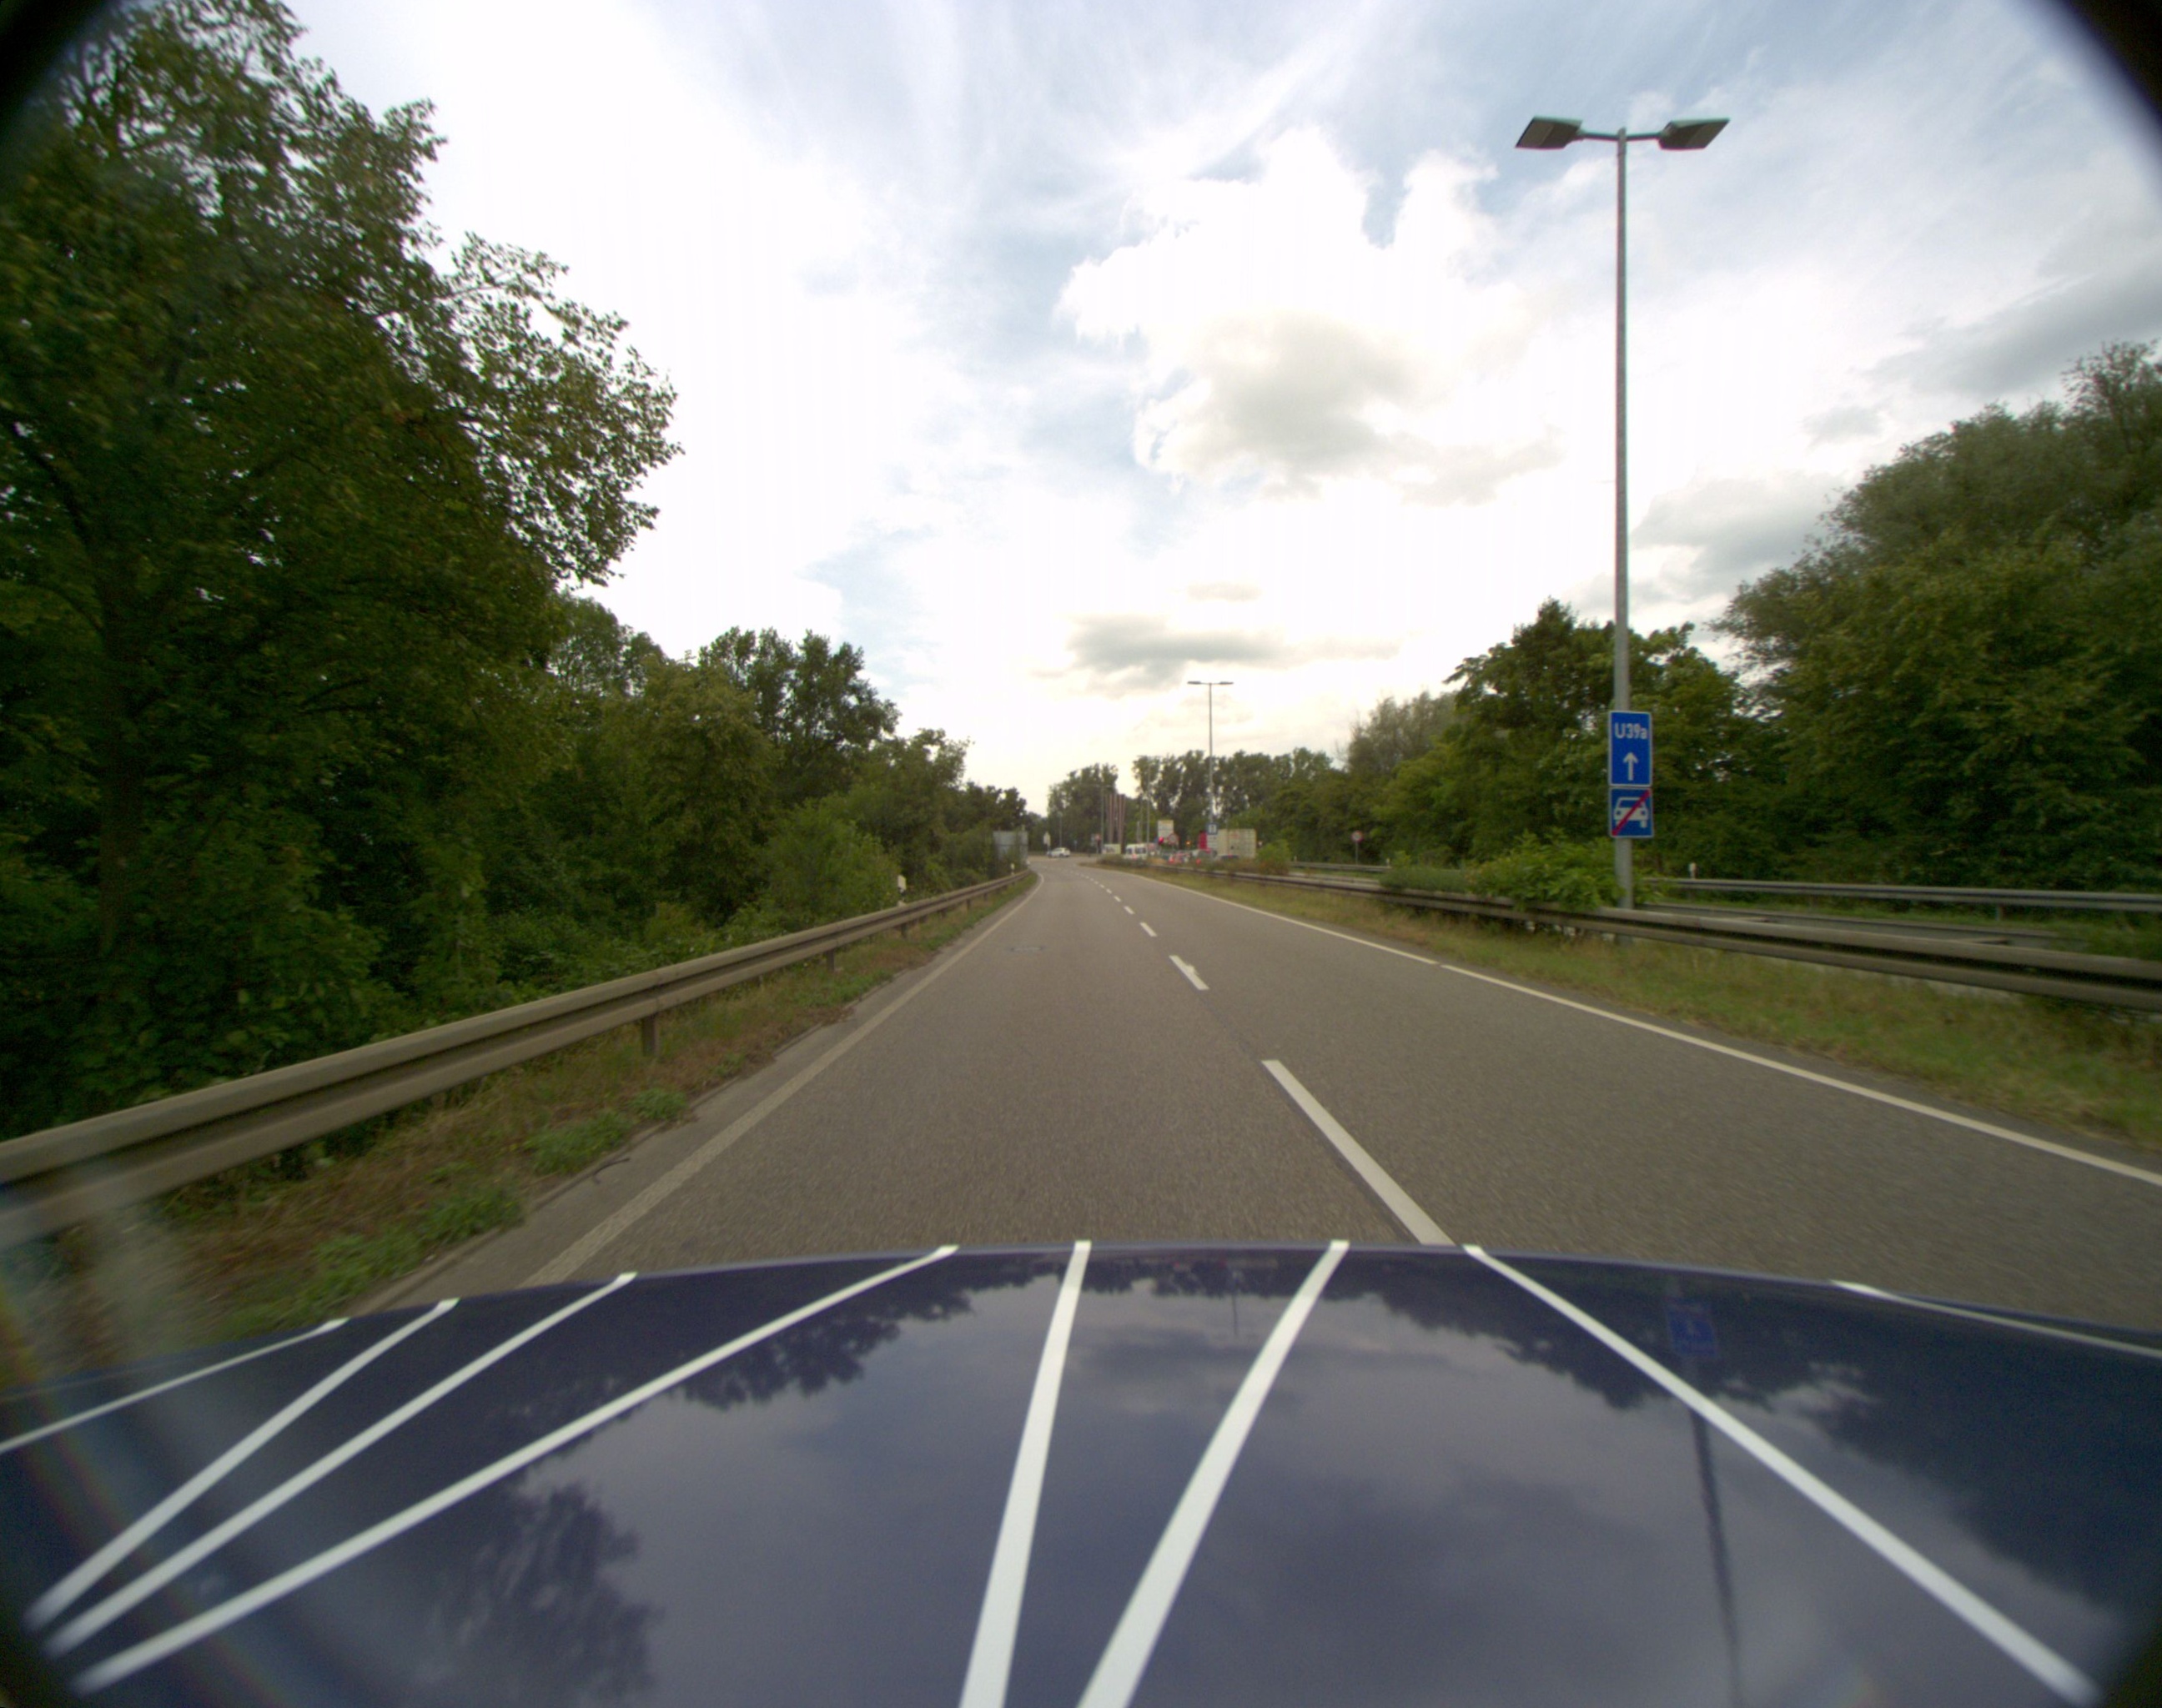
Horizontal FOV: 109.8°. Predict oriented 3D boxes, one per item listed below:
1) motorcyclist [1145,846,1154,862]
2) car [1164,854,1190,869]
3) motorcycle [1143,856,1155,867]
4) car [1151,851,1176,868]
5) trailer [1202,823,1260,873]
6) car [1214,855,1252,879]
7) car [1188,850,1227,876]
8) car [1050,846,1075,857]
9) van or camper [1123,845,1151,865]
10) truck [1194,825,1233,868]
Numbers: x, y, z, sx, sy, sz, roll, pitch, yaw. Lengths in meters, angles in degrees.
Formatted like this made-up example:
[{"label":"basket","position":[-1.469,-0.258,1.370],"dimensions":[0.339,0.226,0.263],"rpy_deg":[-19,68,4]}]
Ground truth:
[{"label":"motorcyclist","position":[8.047,0.021,89.000],"dimensions":[0.868,1.813,0.924],"rpy_deg":[-1,2,-9]},{"label":"car","position":[9.876,0.769,78.611],"dimensions":[1.809,1.424,4.123],"rpy_deg":[-1,1,-4]},{"label":"motorcycle","position":[8.013,0.897,89.057],"dimensions":[0.801,1.218,2.324],"rpy_deg":[-1,1,-10]},{"label":"car","position":[9.224,0.540,85.005],"dimensions":[1.809,1.719,4.957],"rpy_deg":[-1,1,-5]},{"label":"trailer","position":[13.408,-0.574,68.774],"dimensions":[2.542,4.124,10.766],"rpy_deg":[-1,1,-3]},{"label":"car","position":[10.573,0.858,53.024],"dimensions":[1.772,1.498,3.938],"rpy_deg":[-1,1,-1]},{"label":"car","position":[10.144,0.698,61.407],"dimensions":[2.015,1.852,5.275],"rpy_deg":[-1,1,-3]},{"label":"car","position":[-3.424,-0.463,139.383],"dimensions":[4.245,1.773,1.931],"rpy_deg":[0,2,37]},{"label":"van or camper","position":[7.360,0.072,100.491],"dimensions":[2.167,2.574,6.488],"rpy_deg":[-1,1,-10]},{"label":"truck","position":[13.086,-0.781,75.220],"dimensions":[2.575,4.060,5.620],"rpy_deg":[-1,1,-3]}]
